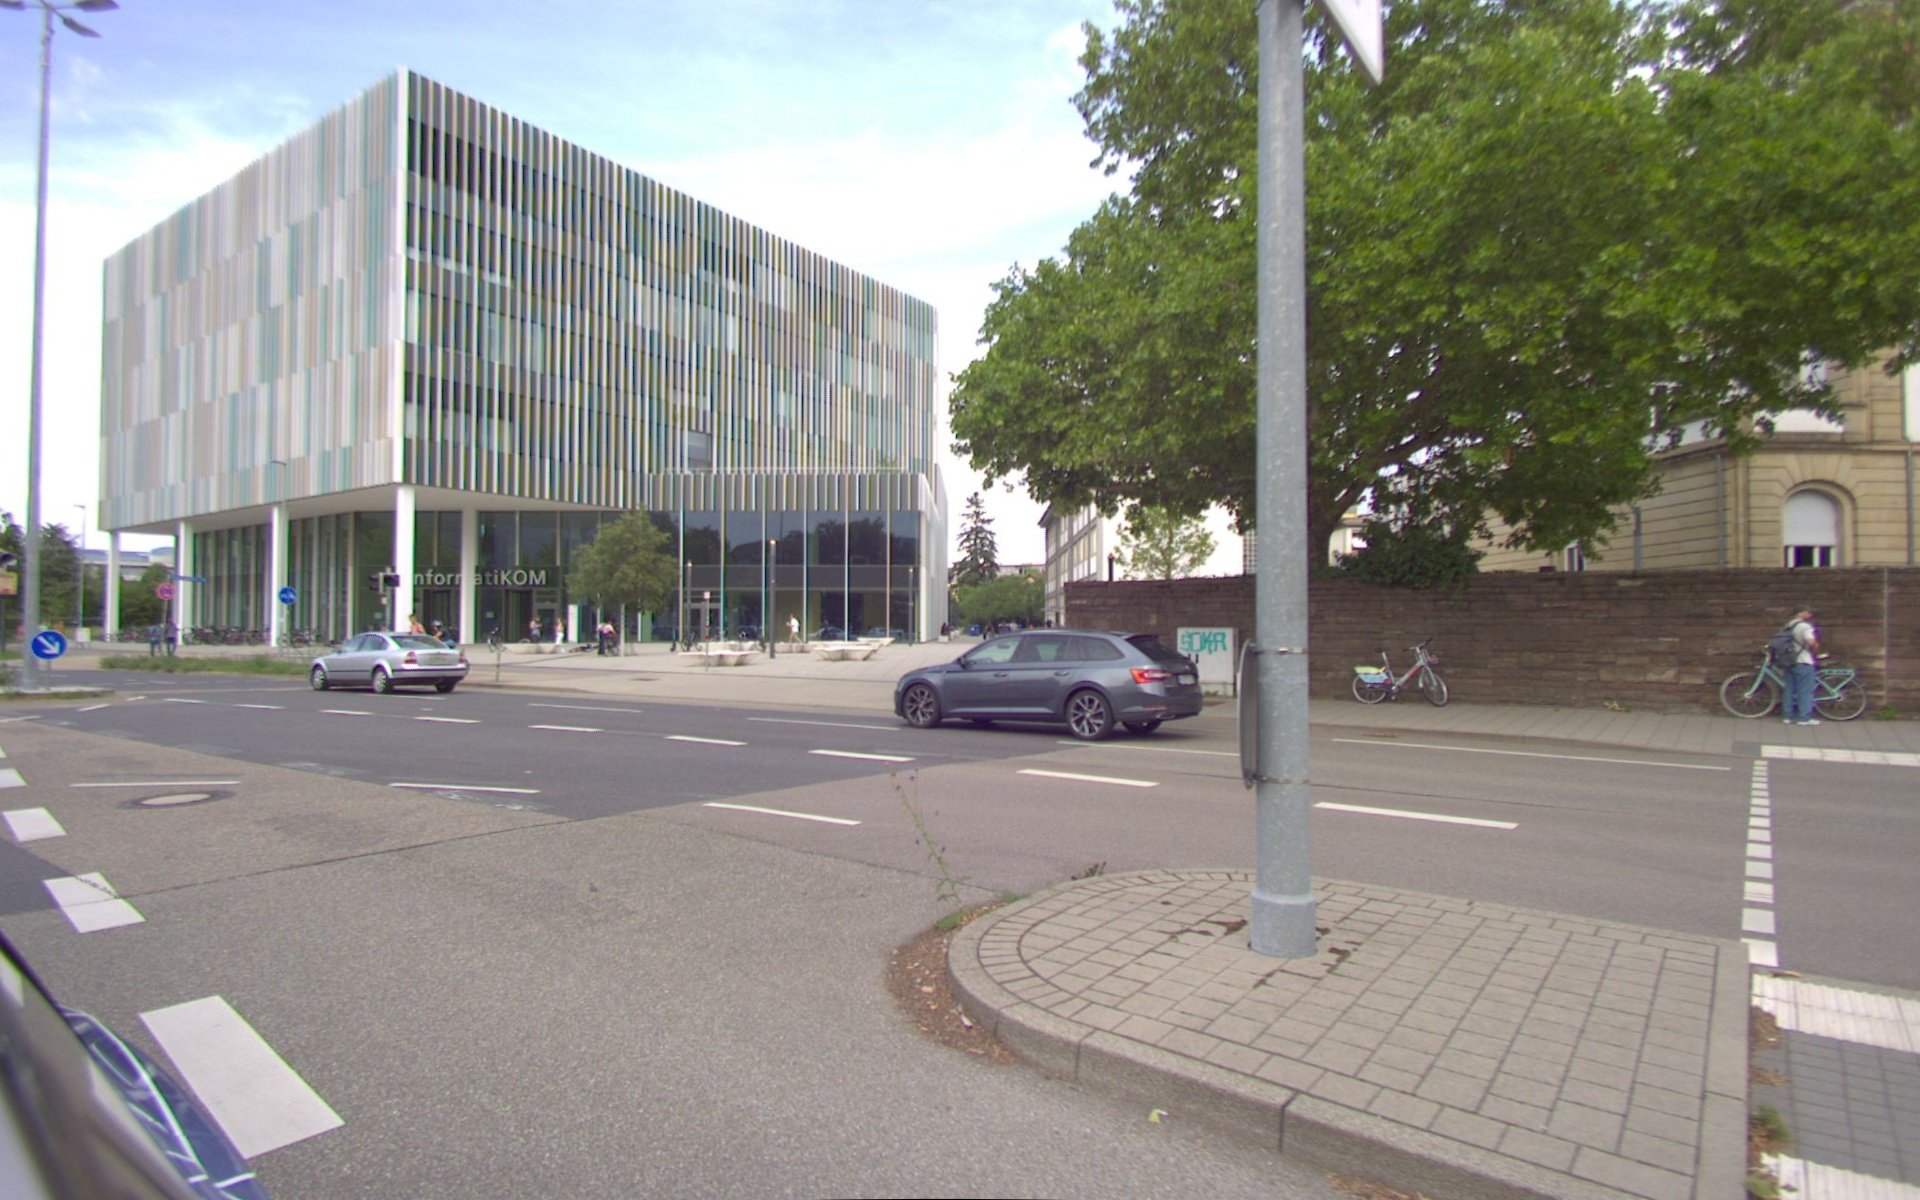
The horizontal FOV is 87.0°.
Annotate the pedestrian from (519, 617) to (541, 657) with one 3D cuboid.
[{"bbox_3d":[-19.110,1.652,45.007,0.669,1.753,0.730,0,-2,2],"label":"pedestrian"}]

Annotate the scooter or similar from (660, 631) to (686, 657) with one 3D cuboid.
[{"bbox_3d":[-14.007,2.122,49.423,0.588,1.207,2.123,-1,-2,4],"label":"scooter or similar"}]

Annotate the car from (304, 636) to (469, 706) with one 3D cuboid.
[{"bbox_3d":[-13.798,1.628,24.248,4.537,1.500,1.745,-1,-2,36],"label":"car"}]

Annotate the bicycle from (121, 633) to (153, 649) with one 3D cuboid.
[{"bbox_3d":[-58.181,2.893,71.582,0.433,1.031,1.686,-1,0,30],"label":"bicycle"}]

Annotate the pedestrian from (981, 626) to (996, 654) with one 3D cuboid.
[{"bbox_3d":[1.961,2.755,69.967,0.962,1.945,1.070,-1,-2,2],"label":"pedestrian"}]

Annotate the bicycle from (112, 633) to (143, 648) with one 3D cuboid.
[{"bbox_3d":[-60.041,2.924,73.030,0.433,1.031,1.686,-1,0,30],"label":"bicycle"}]

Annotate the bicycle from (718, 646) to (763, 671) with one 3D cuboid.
[{"bbox_3d":[-10.476,2.776,48.344,0.791,1.098,2.664,-1,-2,20],"label":"bicycle"}]

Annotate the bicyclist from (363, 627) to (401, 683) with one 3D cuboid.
[{"bbox_3d":[-17.694,1.678,30.997,0.719,1.685,0.723,-1,0,22],"label":"bicyclist"}]

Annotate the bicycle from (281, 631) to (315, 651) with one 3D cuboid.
[{"bbox_3d":[-36.110,2.223,55.198,0.398,1.002,1.530,-1,0,31],"label":"bicycle"}]

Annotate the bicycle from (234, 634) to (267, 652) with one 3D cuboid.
[{"bbox_3d":[-42.419,2.573,60.496,0.388,1.031,1.566,-1,0,30],"label":"bicycle"}]

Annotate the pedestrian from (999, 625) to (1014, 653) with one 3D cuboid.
[{"bbox_3d":[3.240,2.745,70.577,0.962,1.945,1.070,-1,-2,2],"label":"pedestrian"}]

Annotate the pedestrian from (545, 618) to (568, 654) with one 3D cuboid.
[{"bbox_3d":[-18.055,1.600,45.276,0.670,1.612,0.729,0,-2,5],"label":"pedestrian"}]

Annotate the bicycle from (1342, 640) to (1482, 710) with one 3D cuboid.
[{"bbox_3d":[7.949,1.300,17.847,2.160,1.134,0.572,-2,1,35],"label":"bicycle"}]

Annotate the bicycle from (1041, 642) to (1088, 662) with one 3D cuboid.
[{"bbox_3d":[5.987,2.967,57.953,2.637,1.142,0.745,-1,-2,2],"label":"bicycle"}]

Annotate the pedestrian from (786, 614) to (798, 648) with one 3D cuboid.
[{"bbox_3d":[-8.954,1.630,54.002,0.626,1.792,0.597,0,-2,-9],"label":"pedestrian"}]

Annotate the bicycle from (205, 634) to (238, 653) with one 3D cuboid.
[{"bbox_3d":[-45.015,2.641,61.698,0.388,1.031,1.566,-1,0,30],"label":"bicycle"}]

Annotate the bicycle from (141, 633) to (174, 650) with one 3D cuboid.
[{"bbox_3d":[-54.608,2.815,68.890,0.433,1.031,1.686,-1,0,30],"label":"bicycle"}]

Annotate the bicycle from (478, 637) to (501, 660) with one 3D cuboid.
[{"bbox_3d":[-22.643,2.325,48.744,0.388,1.037,1.547,-1,0,-2],"label":"bicycle"}]

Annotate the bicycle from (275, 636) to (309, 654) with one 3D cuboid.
[{"bbox_3d":[-36.699,2.467,55.614,0.392,0.944,1.530,-1,0,30],"label":"bicycle"}]

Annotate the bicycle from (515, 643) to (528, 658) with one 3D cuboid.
[{"bbox_3d":[-21.417,2.458,49.436,0.387,0.678,1.801,-1,0,-17],"label":"bicycle"}]

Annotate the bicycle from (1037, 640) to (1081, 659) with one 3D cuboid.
[{"bbox_3d":[6.000,2.991,61.388,2.637,1.142,0.745,-1,-2,2],"label":"bicycle"}]

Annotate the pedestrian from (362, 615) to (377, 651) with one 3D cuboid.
[{"bbox_3d":[-33.854,1.906,57.985,0.623,2.059,0.506,-3,-3,34],"label":"pedestrian"}]

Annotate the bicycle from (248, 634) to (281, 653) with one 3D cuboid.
[{"bbox_3d":[-40.773,2.559,59.303,0.388,1.031,1.566,-1,0,30],"label":"bicycle"}]

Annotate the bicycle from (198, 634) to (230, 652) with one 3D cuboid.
[{"bbox_3d":[-46.411,2.659,62.990,0.388,1.031,1.566,-1,0,30],"label":"bicycle"}]

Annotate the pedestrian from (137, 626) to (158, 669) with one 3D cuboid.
[{"bbox_3d":[-35.491,2.092,44.227,0.771,1.851,0.506,-3,-3,35],"label":"pedestrian"}]

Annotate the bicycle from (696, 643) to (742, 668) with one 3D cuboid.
[{"bbox_3d":[-11.620,2.662,48.901,0.791,1.098,2.664,-1,-2,20],"label":"bicycle"}]

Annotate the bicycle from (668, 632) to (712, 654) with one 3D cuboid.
[{"bbox_3d":[-13.026,2.072,48.958,0.668,1.007,2.664,-1,-2,20],"label":"bicycle"}]

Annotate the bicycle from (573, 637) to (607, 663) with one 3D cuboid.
[{"bbox_3d":[-14.659,1.979,40.118,1.747,1.006,0.434,-2,-2,39],"label":"bicycle"}]

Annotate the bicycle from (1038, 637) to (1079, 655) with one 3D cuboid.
[{"bbox_3d":[6.530,3.036,67.297,2.637,1.142,0.745,-1,-2,2],"label":"bicycle"}]

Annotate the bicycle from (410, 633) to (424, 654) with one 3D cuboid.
[{"bbox_3d":[-26.309,2.121,49.029,0.387,0.944,1.603,-1,0,-21],"label":"bicycle"}]

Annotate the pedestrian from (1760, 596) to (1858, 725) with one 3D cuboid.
[{"bbox_3d":[12.195,0.845,14.561,0.774,1.796,0.746,1,-1,4],"label":"pedestrian"}]

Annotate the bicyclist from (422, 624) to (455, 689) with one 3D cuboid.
[{"bbox_3d":[-15.055,1.623,29.221,0.558,1.820,0.597,-1,0,22],"label":"bicyclist"}]

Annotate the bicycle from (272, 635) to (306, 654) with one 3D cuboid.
[{"bbox_3d":[-37.254,2.474,56.195,0.388,0.944,1.530,-1,0,30],"label":"bicycle"}]

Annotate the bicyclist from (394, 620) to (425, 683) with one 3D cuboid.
[{"bbox_3d":[-16.285,1.523,29.944,0.558,1.820,0.597,-1,0,22],"label":"bicyclist"}]

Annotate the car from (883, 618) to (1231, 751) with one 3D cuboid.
[{"bbox_3d":[1.276,1.106,14.595,4.736,1.628,1.879,-2,-2,37],"label":"car"}]

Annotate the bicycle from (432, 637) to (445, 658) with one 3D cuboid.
[{"bbox_3d":[-25.376,2.323,49.256,0.387,0.944,1.603,-1,0,-21],"label":"bicycle"}]

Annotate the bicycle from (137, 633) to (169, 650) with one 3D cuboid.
[{"bbox_3d":[-55.307,2.845,69.372,0.433,1.031,1.686,-1,0,30],"label":"bicycle"}]

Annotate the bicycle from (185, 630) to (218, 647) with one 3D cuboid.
[{"bbox_3d":[-47.529,2.409,63.405,0.388,1.031,1.565,-1,-4,30],"label":"bicycle"}]

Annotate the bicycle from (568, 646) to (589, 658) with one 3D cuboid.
[{"bbox_3d":[-18.229,2.485,48.394,0.613,0.526,2.255,0,-2,-12],"label":"bicycle"}]

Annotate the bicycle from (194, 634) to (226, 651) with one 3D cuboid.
[{"bbox_3d":[-46.914,2.654,63.299,0.388,1.031,1.566,-1,0,30],"label":"bicycle"}]

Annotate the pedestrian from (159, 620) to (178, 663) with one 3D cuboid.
[{"bbox_3d":[-35.142,1.840,44.919,0.623,1.851,0.506,-3,-3,35],"label":"pedestrian"}]

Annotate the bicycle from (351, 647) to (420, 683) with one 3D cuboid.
[{"bbox_3d":[-17.643,1.981,31.110,0.723,0.996,1.809,-1,0,22],"label":"bicycle"}]

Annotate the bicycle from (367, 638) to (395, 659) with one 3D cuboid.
[{"bbox_3d":[-28.317,2.363,49.545,0.389,0.944,1.610,-1,0,2],"label":"bicycle"}]
